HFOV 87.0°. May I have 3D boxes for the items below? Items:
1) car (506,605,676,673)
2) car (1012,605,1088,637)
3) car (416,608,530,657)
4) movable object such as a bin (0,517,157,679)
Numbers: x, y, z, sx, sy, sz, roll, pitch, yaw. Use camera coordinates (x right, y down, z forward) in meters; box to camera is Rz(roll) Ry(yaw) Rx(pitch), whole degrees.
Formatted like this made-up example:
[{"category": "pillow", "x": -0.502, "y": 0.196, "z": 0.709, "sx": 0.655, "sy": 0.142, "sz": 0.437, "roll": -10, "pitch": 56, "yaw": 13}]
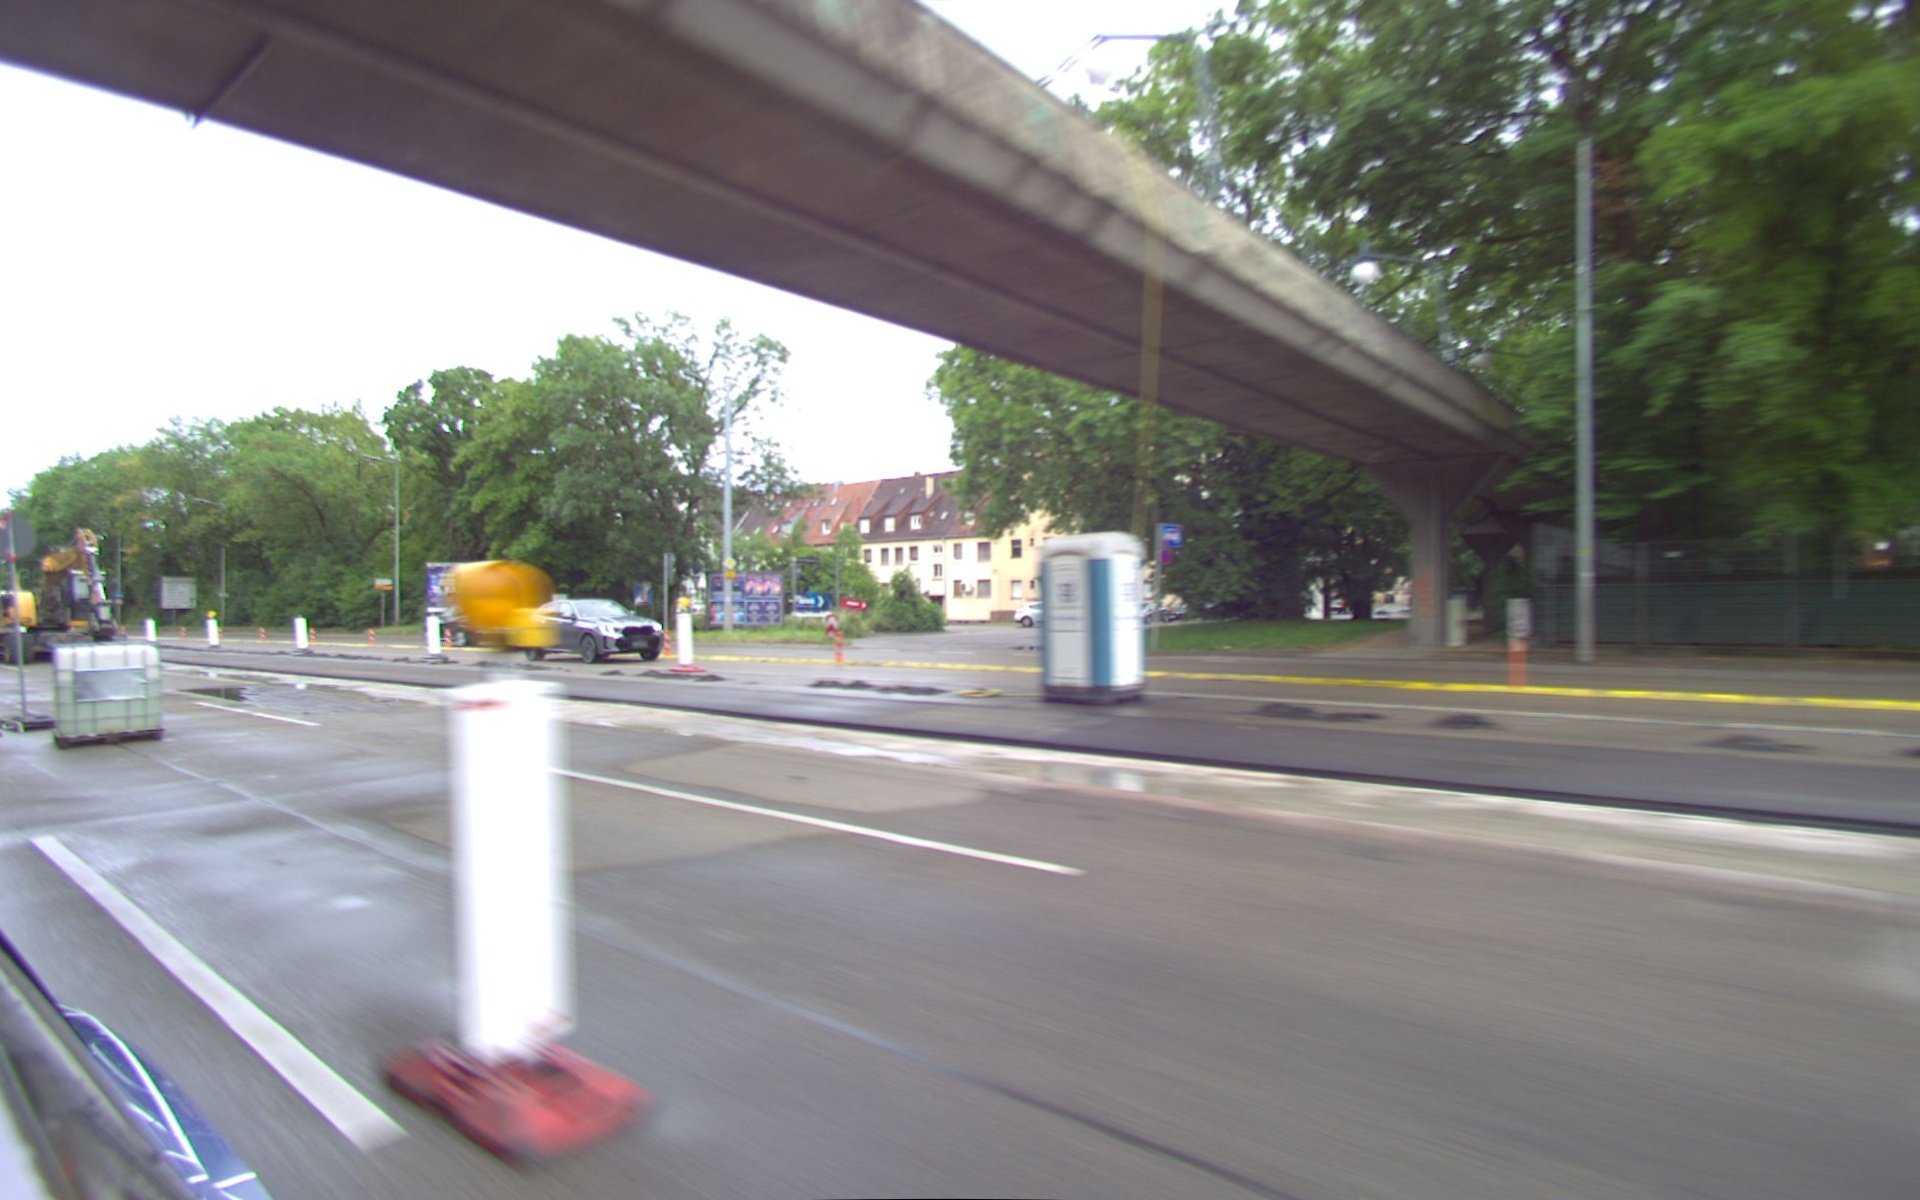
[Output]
[{"category": "car", "x": -10.005, "y": 0.986, "z": 27.246, "sx": 5.053, "sy": 1.625, "sz": 2.055, "roll": -1, "pitch": 0, "yaw": 40}, {"category": "car", "x": 5.221, "y": 1.186, "z": 58.694, "sx": 4.181, "sy": 1.763, "sz": 1.992, "roll": -1, "pitch": 0, "yaw": 13}, {"category": "car", "x": -19.276, "y": 1.236, "z": 39.990, "sx": 5.053, "sy": 1.752, "sz": 2.193, "roll": -1, "pitch": 0, "yaw": 40}, {"category": "movable object such as a bin", "x": -29.684, "y": -0.023, "z": 33.162, "sx": 10.064, "sy": 4.555, "sz": 3.481, "roll": -1, "pitch": 0, "yaw": 41}]
